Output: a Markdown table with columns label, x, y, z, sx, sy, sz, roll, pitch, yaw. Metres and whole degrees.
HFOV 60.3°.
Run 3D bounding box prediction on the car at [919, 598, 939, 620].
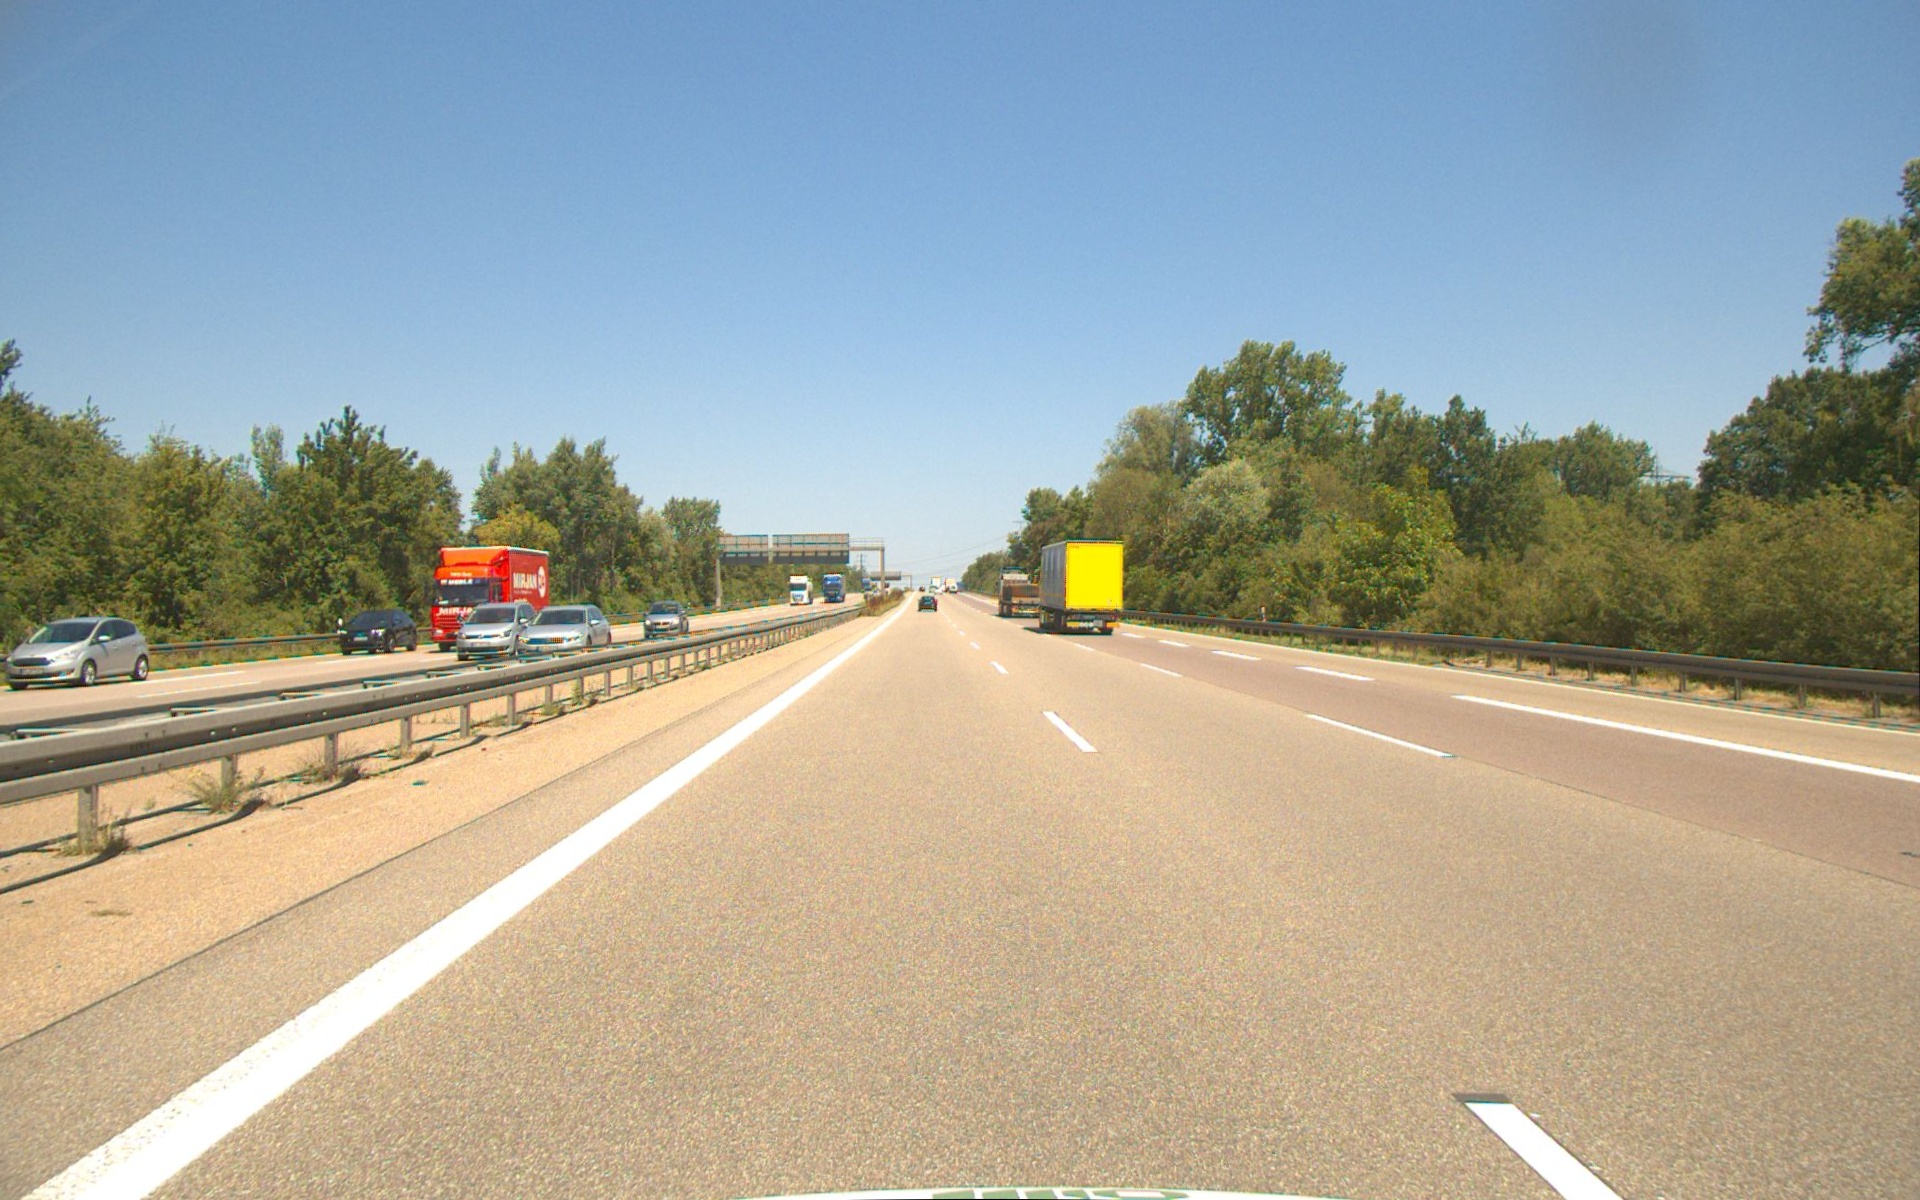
| label | x | y | z | sx | sy | sz | roll | pitch | yaw |
| --- | --- | --- | --- | --- | --- | --- | --- | --- | --- |
| car | -2.913 | 0.828 | 155.429 | 1.755 | 2.049 | 3.886 | 1 | 0 | -1 |

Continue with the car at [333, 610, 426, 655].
| label | x | y | z | sx | sy | sz | roll | pitch | yaw |
| --- | --- | --- | --- | --- | --- | --- | --- | --- | --- |
| car | -22.078 | 1.223 | 63.069 | 1.952 | 1.606 | 4.268 | -1 | 0 | 1 |

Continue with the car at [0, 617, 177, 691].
| label | x | y | z | sx | sy | sz | roll | pitch | yaw |
| --- | --- | --- | --- | --- | --- | --- | --- | --- | --- |
| car | -21.051 | 1.263 | 40.015 | 1.953 | 1.536 | 4.720 | -3 | 0 | -1 |

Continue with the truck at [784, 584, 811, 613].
| label | x | y | z | sx | sy | sz | roll | pitch | yaw |
| --- | --- | --- | --- | --- | --- | --- | --- | --- | --- |
| truck | -23.705 | -0.255 | 241.851 | 2.895 | 4.088 | 15.815 | -1 | 0 | -2 |

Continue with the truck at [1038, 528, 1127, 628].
| label | x | y | z | sx | sy | sz | roll | pitch | yaw |
| --- | --- | --- | --- | --- | --- | --- | --- | --- | --- |
| truck | 5.756 | -0.955 | 80.457 | 2.787 | 4.332 | 16.787 | -1 | 0 | -1 |

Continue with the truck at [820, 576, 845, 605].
| label | x | y | z | sx | sy | sz | roll | pitch | yaw |
| --- | --- | --- | --- | --- | --- | --- | --- | --- | --- |
| truck | -19.638 | -1.441 | 255.781 | 2.895 | 4.319 | 17.176 | -1 | 0 | -2 |

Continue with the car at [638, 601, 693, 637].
| label | x | y | z | sx | sy | sz | roll | pitch | yaw |
| --- | --- | --- | --- | --- | --- | --- | --- | --- | --- |
| car | -13.098 | 0.814 | 73.743 | 1.858 | 1.532 | 4.115 | -1 | 0 | -2 |

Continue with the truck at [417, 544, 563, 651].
| label | x | y | z | sx | sy | sz | roll | pitch | yaw |
| --- | --- | --- | --- | --- | --- | --- | --- | --- | --- |
| truck | -17.940 | -0.108 | 63.921 | 3.002 | 3.792 | 9.803 | 0 | 0 | -1 |

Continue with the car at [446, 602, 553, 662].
| label | x | y | z | sx | sy | sz | roll | pitch | yaw |
| --- | --- | --- | --- | --- | --- | --- | --- | --- | --- |
| car | -13.877 | 0.934 | 50.145 | 1.953 | 1.654 | 4.543 | -2 | 0 | -1 |

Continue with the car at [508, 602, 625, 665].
| label | x | y | z | sx | sy | sz | roll | pitch | yaw |
| --- | --- | --- | --- | --- | --- | --- | --- | --- | --- |
| car | -10.500 | 0.846 | 44.526 | 1.953 | 1.579 | 5.223 | 0 | 0 | -1 |

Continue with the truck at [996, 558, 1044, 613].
| label | x | y | z | sx | sy | sz | roll | pitch | yaw |
| --- | --- | --- | --- | --- | --- | --- | --- | --- | --- |
| truck | 4.636 | -1.062 | 130.543 | 2.909 | 4.026 | 16.609 | 1 | 0 | -1 |
